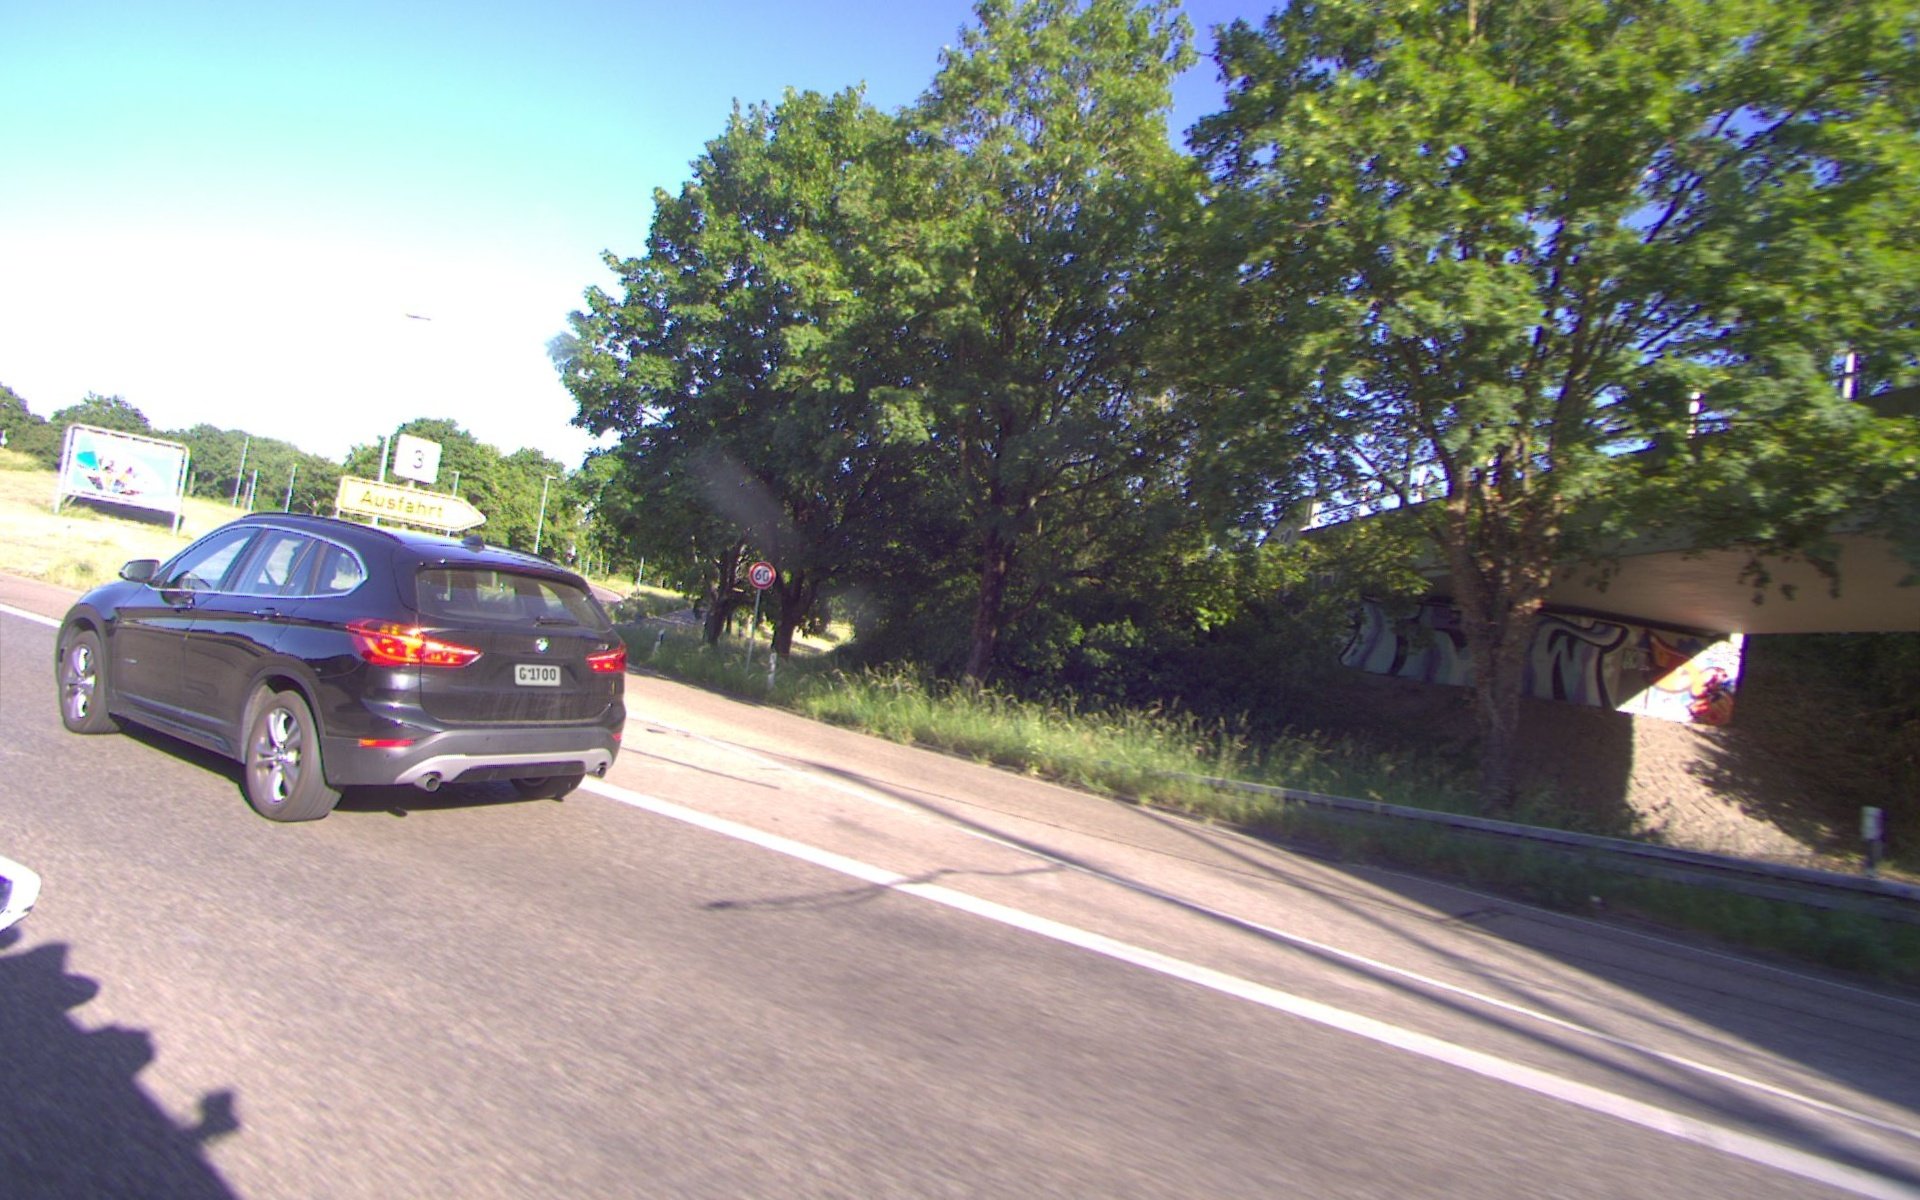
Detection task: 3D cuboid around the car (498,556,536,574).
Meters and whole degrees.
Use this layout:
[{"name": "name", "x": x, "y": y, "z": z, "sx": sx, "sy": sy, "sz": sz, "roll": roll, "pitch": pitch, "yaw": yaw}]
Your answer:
[{"name": "car", "x": -56.513, "y": -4.440, "z": 128.422, "sx": 3.924, "sy": 1.711, "sz": 1.870, "roll": 8, "pitch": 0, "yaw": 14}]

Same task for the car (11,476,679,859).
[{"name": "car", "x": -4.169, "y": 0.256, "z": 6.604, "sx": 4.445, "sy": 1.591, "sz": 1.759, "roll": 7, "pitch": -1, "yaw": 31}]
